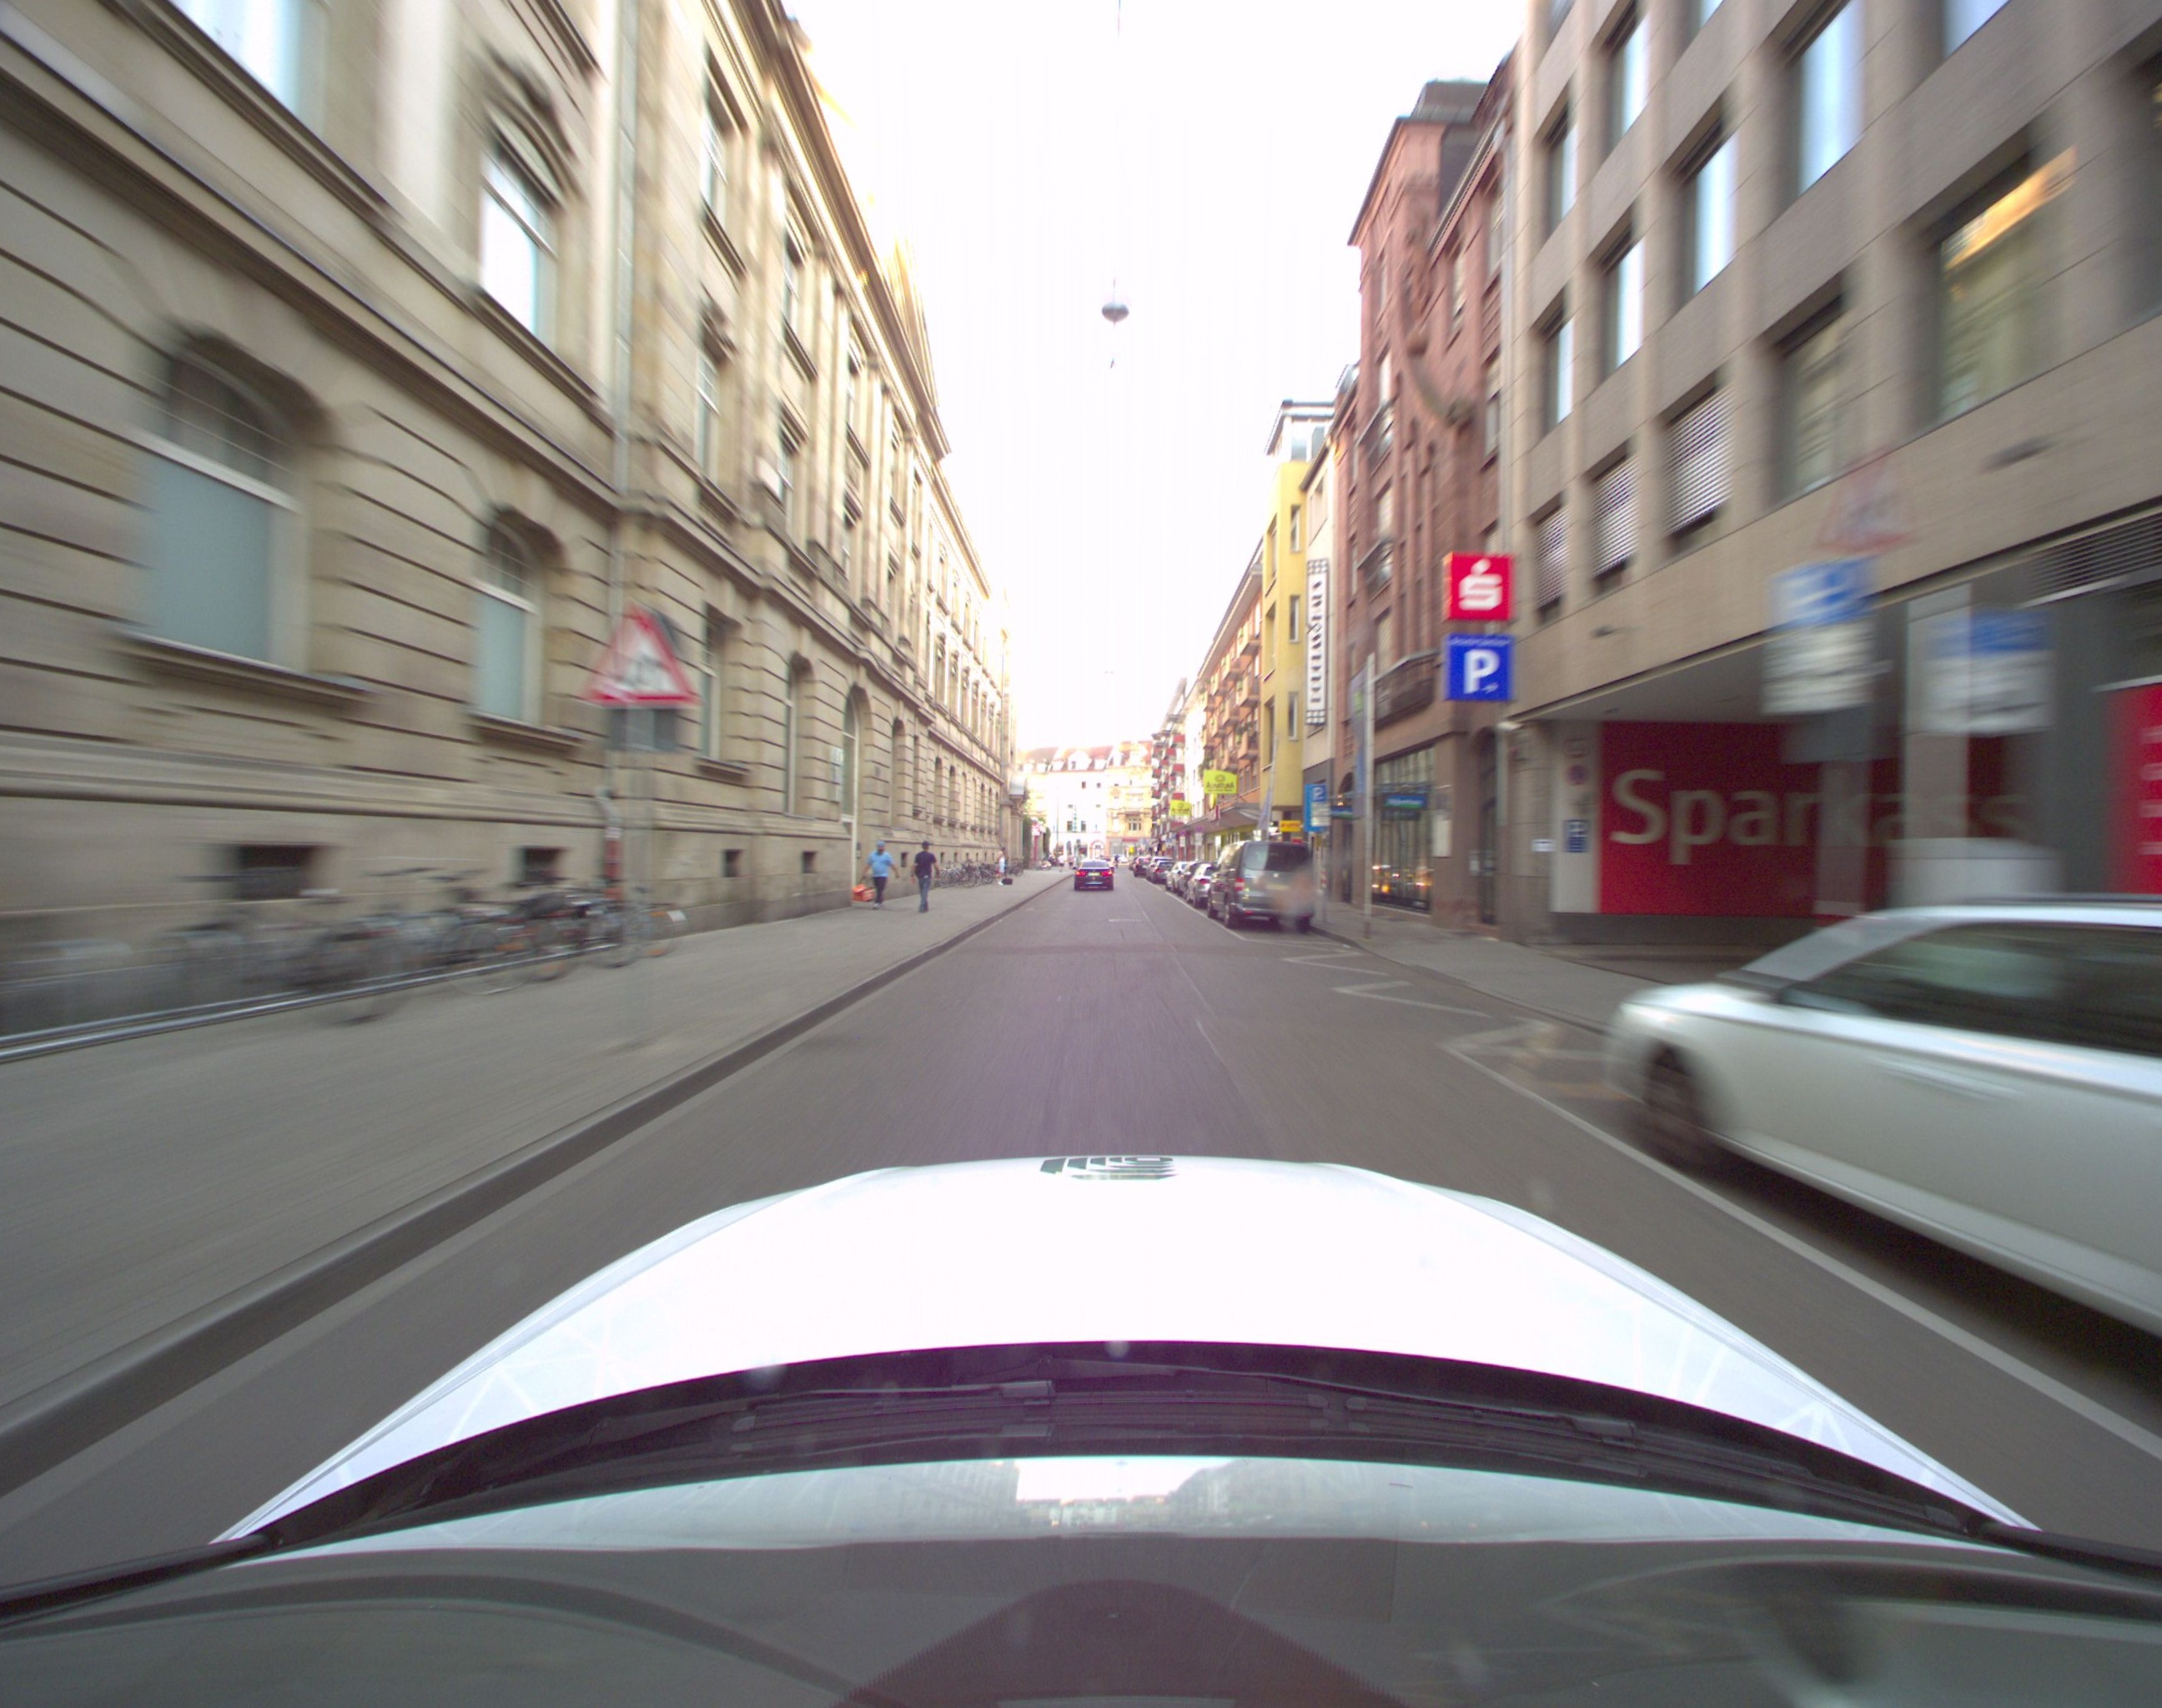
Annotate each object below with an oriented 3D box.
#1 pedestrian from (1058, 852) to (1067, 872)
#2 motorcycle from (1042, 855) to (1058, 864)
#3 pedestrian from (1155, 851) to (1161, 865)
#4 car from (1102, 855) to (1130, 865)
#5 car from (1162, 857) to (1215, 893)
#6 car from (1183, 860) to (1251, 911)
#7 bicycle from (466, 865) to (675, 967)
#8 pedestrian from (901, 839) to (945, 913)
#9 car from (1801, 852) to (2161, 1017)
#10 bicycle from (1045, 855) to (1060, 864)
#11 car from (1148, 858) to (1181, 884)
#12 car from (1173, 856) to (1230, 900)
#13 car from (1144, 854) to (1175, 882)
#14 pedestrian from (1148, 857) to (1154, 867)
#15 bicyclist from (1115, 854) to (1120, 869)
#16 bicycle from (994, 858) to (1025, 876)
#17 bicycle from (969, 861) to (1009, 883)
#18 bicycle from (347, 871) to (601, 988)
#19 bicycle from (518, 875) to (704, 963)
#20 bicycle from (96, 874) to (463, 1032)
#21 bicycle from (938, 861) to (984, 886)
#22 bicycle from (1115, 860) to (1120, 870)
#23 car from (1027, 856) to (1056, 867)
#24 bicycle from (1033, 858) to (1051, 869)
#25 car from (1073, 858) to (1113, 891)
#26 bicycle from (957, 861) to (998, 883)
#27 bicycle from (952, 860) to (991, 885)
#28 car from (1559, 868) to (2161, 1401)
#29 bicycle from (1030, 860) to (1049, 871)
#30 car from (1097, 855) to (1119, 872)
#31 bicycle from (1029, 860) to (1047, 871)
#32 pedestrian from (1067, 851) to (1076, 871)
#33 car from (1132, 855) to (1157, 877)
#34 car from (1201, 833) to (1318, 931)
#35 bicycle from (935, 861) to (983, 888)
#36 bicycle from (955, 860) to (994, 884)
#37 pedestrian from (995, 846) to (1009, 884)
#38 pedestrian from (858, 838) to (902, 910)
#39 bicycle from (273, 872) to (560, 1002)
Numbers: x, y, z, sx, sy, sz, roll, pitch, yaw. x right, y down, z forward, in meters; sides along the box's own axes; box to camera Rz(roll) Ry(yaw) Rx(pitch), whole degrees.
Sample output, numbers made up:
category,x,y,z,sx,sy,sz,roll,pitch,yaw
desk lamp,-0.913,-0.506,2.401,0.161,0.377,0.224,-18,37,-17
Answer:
category,x,y,z,sx,sy,sz,roll,pitch,yaw
pedestrian,-1.769,0.774,78.365,0.738,1.812,1.009,3,0,1
motorcycle,-3.837,0.709,100.022,1.783,1.064,0.769,1,0,27
pedestrian,9.198,0.480,97.561,0.645,1.661,0.656,-3,-1,3
car,5.885,1.025,137.953,4.312,1.562,1.879,0,-1,24
car,4.838,0.914,37.329,1.686,1.411,4.637,3,0,-1
car,4.414,0.972,27.046,1.680,1.453,4.501,3,0,3
bicycle,-5.982,0.711,9.623,1.930,1.078,0.748,2,-1,0
pedestrian,-3.881,0.530,20.124,0.806,1.750,0.970,2,-1,2
car,10.572,0.792,8.548,4.388,1.501,1.917,1,-1,0
bicycle,-3.610,0.666,102.796,1.790,1.107,0.499,2,0,-4
car,5.100,1.004,50.183,1.685,1.414,4.759,3,0,2
car,4.681,0.881,32.158,1.613,1.516,4.174,3,0,1
car,5.291,0.907,55.151,1.745,1.668,4.759,3,0,2
pedestrian,9.257,1.097,107.533,0.682,1.286,0.610,-1,-1,11
bicyclist,4.495,0.915,99.976,0.521,1.756,0.620,1,-1,2
bicycle,-4.770,0.849,54.288,1.939,1.061,0.617,4,-1,-14
bicycle,-4.670,0.913,41.414,1.931,1.061,0.619,2,-1,-1
bicycle,-6.153,0.752,8.358,1.934,1.078,0.729,2,-1,-6
bicycle,-6.032,0.820,10.542,1.930,1.046,0.721,1,0,-3
bicycle,-6.063,0.738,6.269,1.934,1.078,0.729,2,-1,-6
bicycle,-5.307,0.864,36.148,1.933,1.061,0.619,2,-1,-5
bicycle,4.487,1.346,99.995,0.534,1.107,1.801,1,0,3
car,-5.465,0.981,112.272,3.982,1.501,1.887,0,0,-7
bicycle,-4.082,1.035,85.233,1.786,1.107,0.501,1,0,4
car,0.632,0.931,38.756,1.758,1.375,4.793,1,0,2
bicycle,-5.132,0.895,40.380,1.933,1.061,0.619,2,-1,-5
bicycle,-5.149,0.854,38.365,1.791,1.108,0.499,2,-1,-5
car,3.833,0.810,3.024,1.651,1.448,4.309,2,-1,1
bicycle,-4.217,1.183,82.711,1.787,1.107,0.500,1,0,1
car,2.569,0.891,76.940,1.868,1.473,4.006,0,0,6
bicycle,-4.334,1.179,83.059,1.788,1.107,0.500,1,0,0
pedestrian,-0.901,0.652,78.636,0.741,1.893,1.051,2,0,2
car,5.077,0.934,64.408,1.785,1.610,4.494,3,0,6
car,4.192,0.627,19.959,1.840,2.058,5.055,2,-1,1
bicycle,-5.228,0.869,34.897,1.930,1.061,0.620,2,-1,0
bicycle,-5.164,0.863,39.566,1.791,1.108,0.499,2,-1,-5
pedestrian,-3.831,0.532,39.624,0.587,1.851,0.753,2,0,-4
pedestrian,-5.063,0.499,20.587,0.825,1.746,0.769,3,0,2
bicycle,-6.107,0.750,7.586,1.934,1.078,0.729,2,-1,-6
